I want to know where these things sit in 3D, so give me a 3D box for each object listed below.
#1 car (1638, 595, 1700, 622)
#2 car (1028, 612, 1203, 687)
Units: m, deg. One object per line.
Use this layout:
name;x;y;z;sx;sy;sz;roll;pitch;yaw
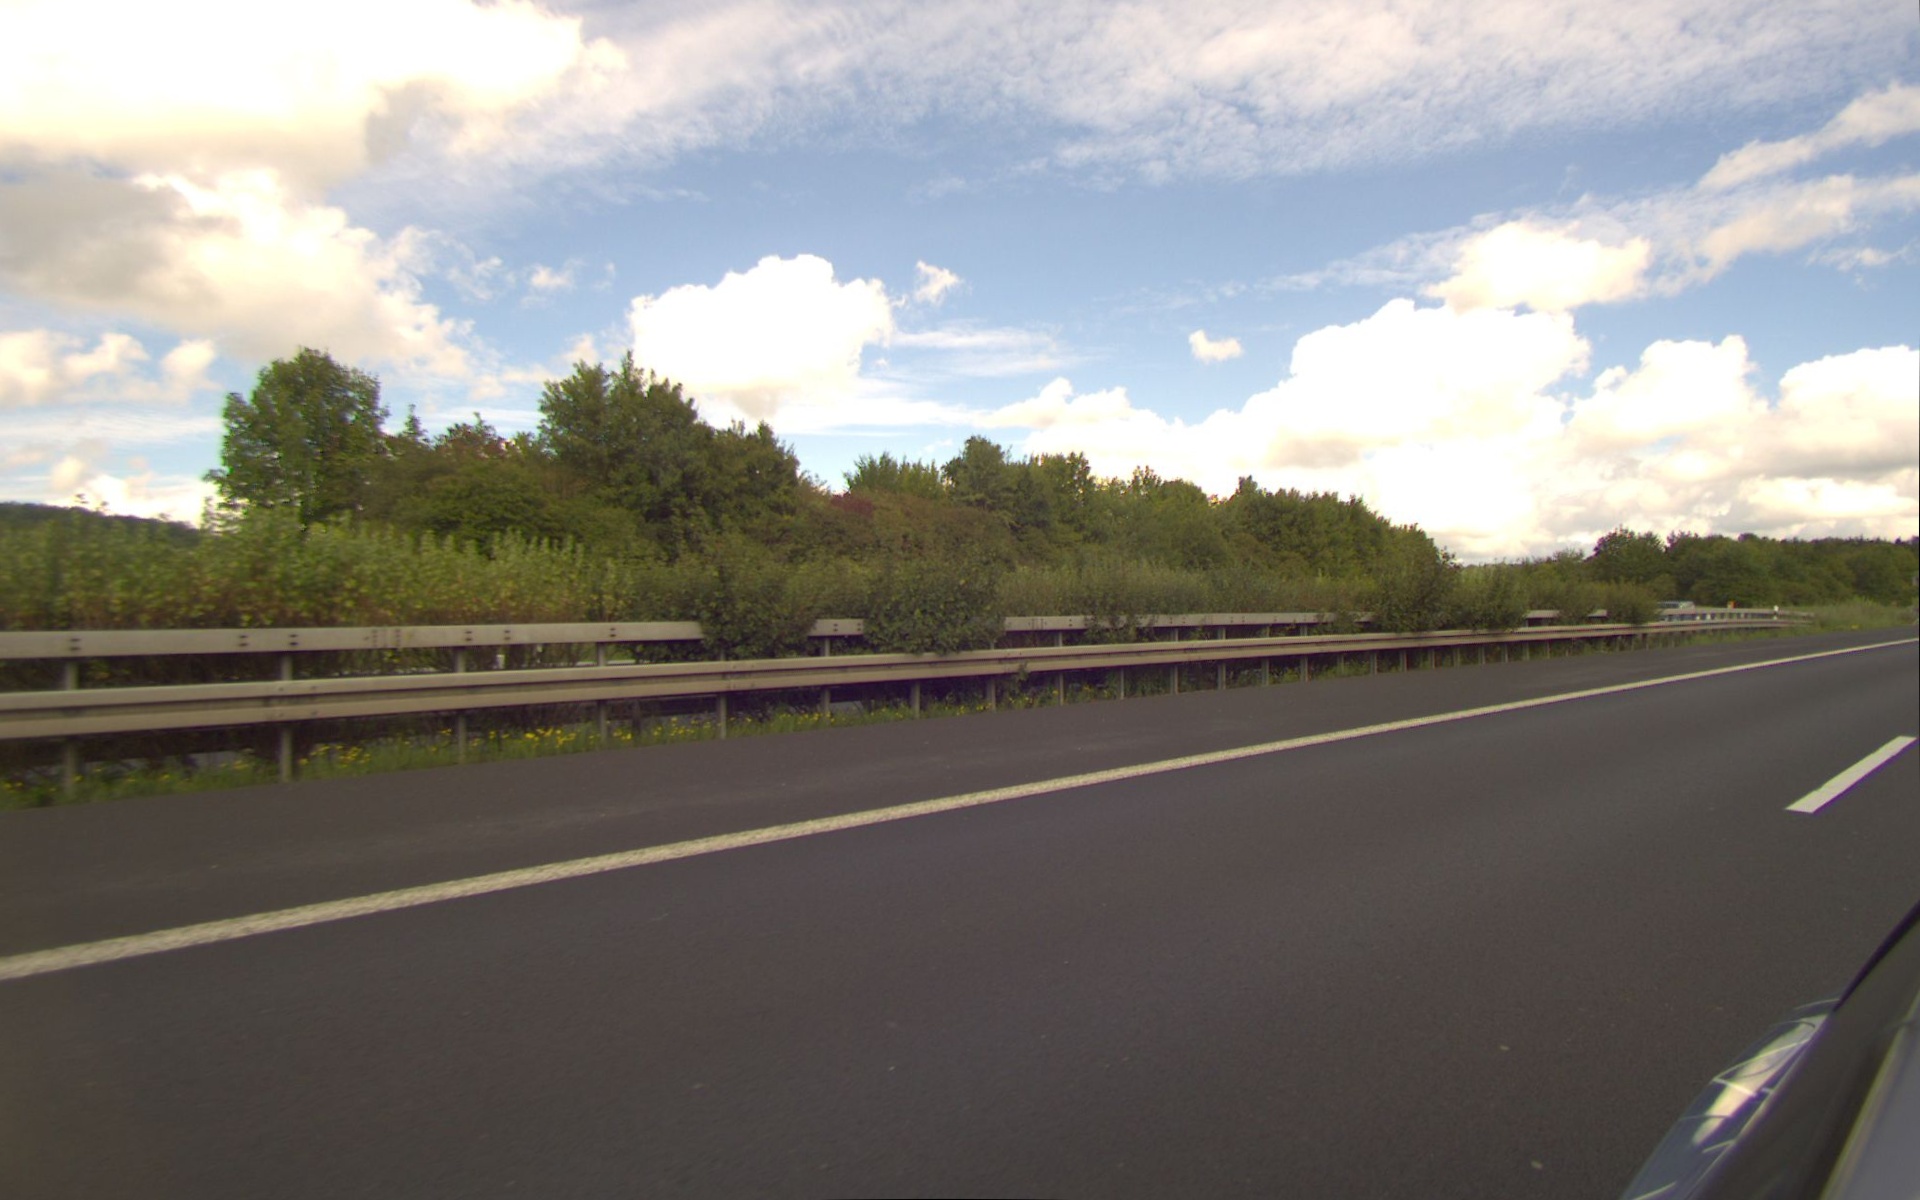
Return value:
car;43.325;0.499;61.827;4.262;1.591;1.789;-1;0;-35
car;3.811;1.121;24.460;4.266;1.591;1.788;-1;0;-39
